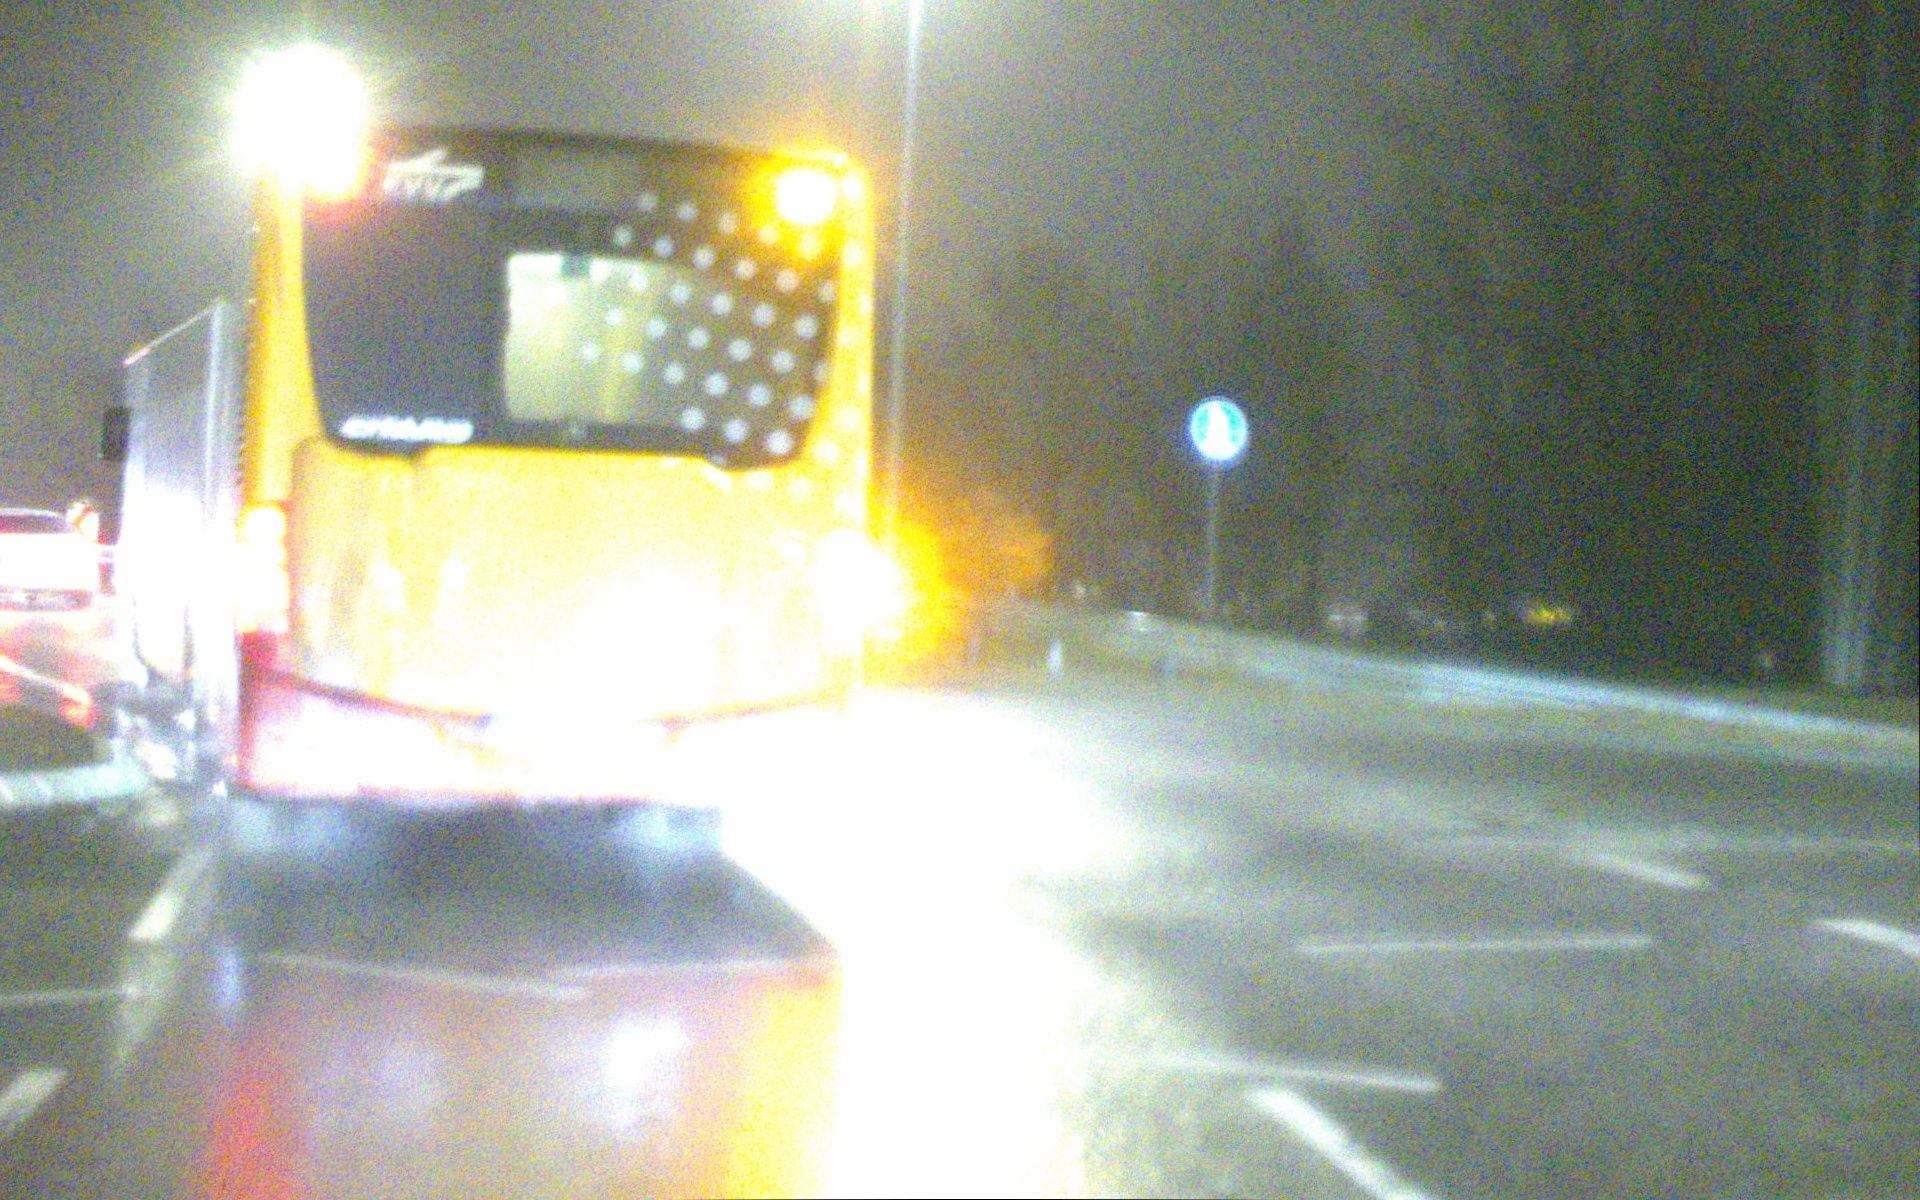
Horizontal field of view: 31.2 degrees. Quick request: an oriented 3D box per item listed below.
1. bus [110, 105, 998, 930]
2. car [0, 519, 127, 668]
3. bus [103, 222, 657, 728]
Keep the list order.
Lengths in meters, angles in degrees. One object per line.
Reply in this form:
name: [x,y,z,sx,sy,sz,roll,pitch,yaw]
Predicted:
bus: [-2.561,-0.533,17.826,3.284,3.039,9.548,2,3,-13]
car: [-13.820,-0.123,50.090,1.993,2.007,4.349,3,-1,-31]
bus: [-4.795,-0.948,26.632,3.246,3.109,8.648,3,1,-15]
